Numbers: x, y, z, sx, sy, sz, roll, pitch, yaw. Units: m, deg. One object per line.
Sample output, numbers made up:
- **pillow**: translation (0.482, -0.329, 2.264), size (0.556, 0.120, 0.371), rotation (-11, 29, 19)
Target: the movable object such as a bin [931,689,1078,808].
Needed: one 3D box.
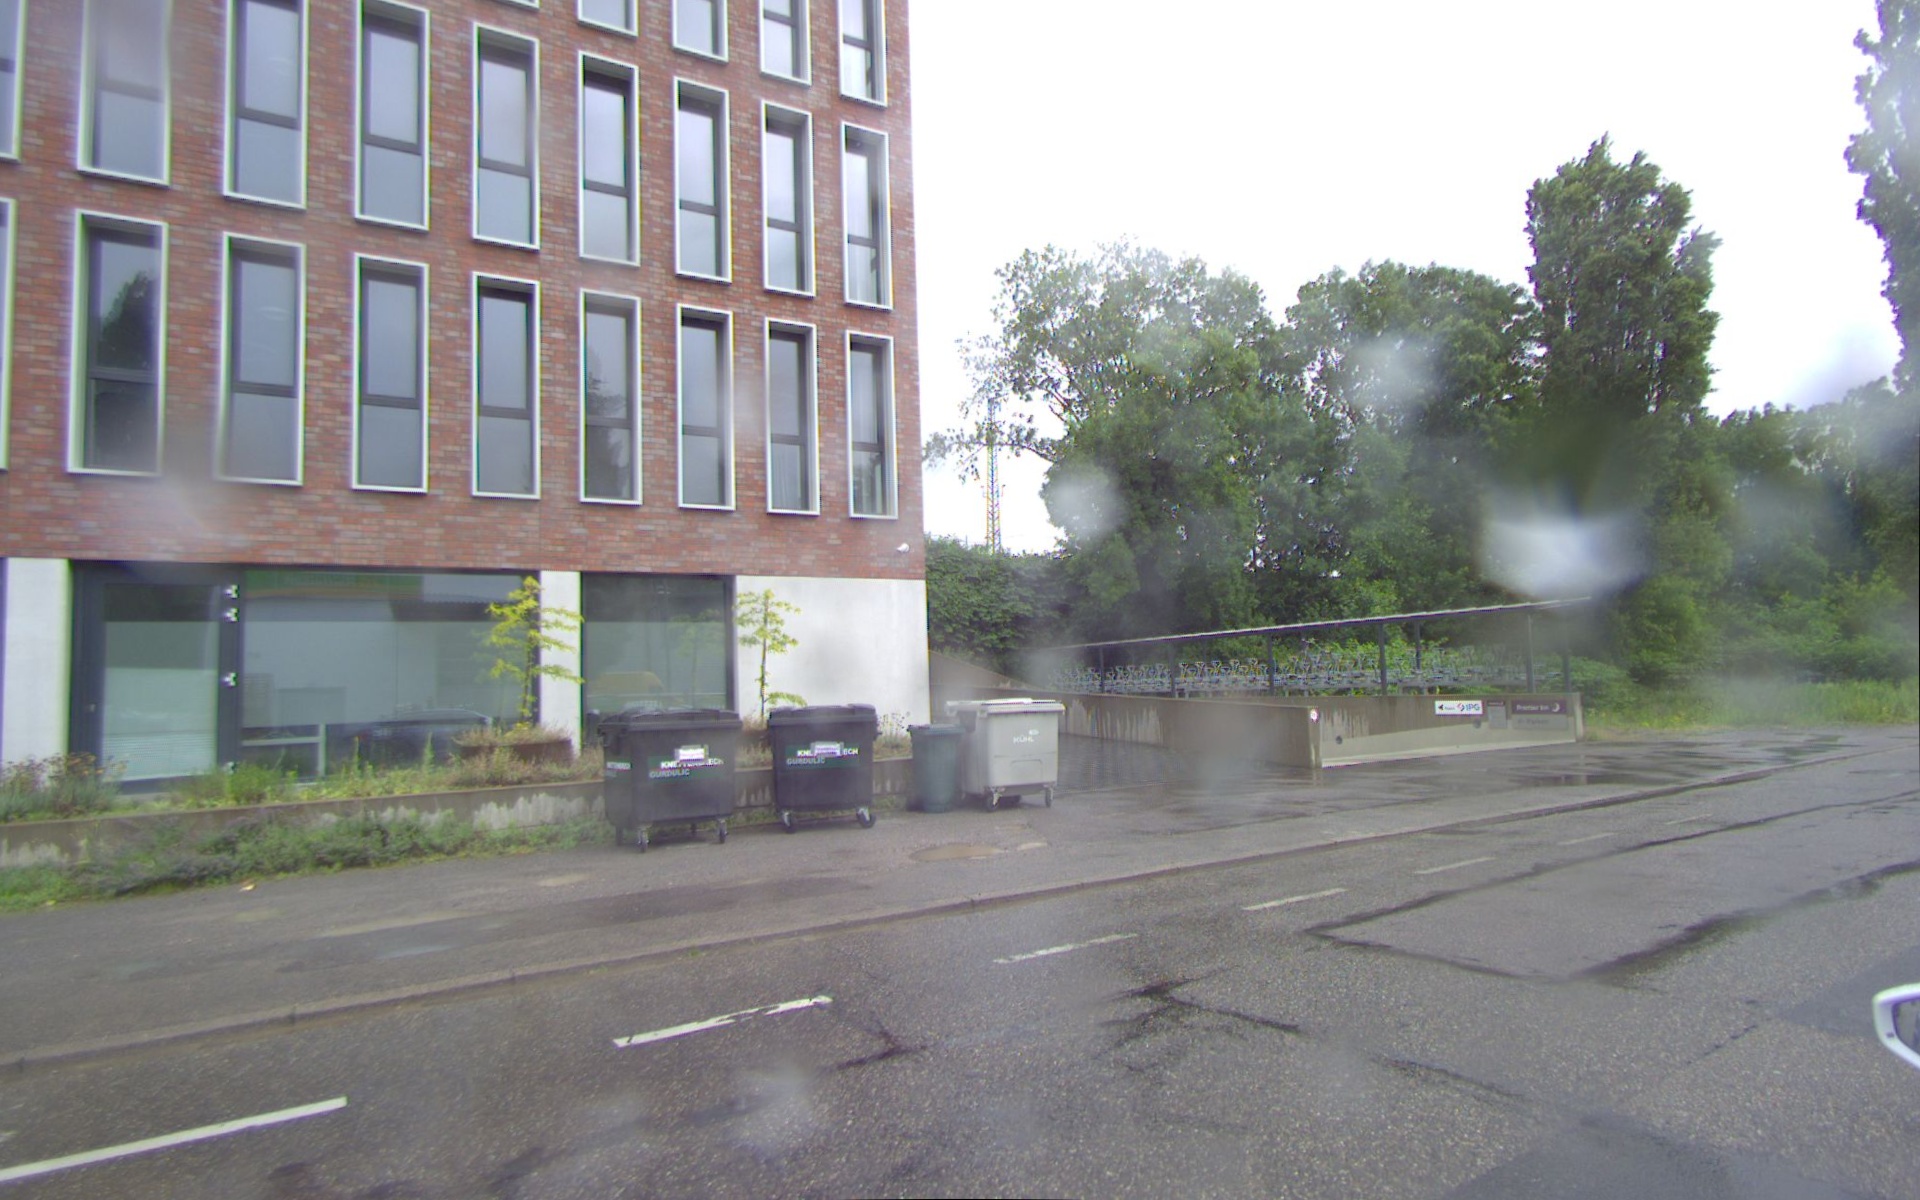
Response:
- **movable object such as a bin**: translation (0.549, 1.832, 12.702), size (1.344, 1.349, 1.289), rotation (1, -5, -33)

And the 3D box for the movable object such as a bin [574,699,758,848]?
- **movable object such as a bin**: translation (-3.003, 1.696, 10.230), size (1.436, 1.325, 1.286), rotation (2, -6, -38)

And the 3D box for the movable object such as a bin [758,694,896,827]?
- **movable object such as a bin**: translation (-1.512, 1.746, 11.286), size (1.422, 1.325, 1.377), rotation (-1, -5, -10)
